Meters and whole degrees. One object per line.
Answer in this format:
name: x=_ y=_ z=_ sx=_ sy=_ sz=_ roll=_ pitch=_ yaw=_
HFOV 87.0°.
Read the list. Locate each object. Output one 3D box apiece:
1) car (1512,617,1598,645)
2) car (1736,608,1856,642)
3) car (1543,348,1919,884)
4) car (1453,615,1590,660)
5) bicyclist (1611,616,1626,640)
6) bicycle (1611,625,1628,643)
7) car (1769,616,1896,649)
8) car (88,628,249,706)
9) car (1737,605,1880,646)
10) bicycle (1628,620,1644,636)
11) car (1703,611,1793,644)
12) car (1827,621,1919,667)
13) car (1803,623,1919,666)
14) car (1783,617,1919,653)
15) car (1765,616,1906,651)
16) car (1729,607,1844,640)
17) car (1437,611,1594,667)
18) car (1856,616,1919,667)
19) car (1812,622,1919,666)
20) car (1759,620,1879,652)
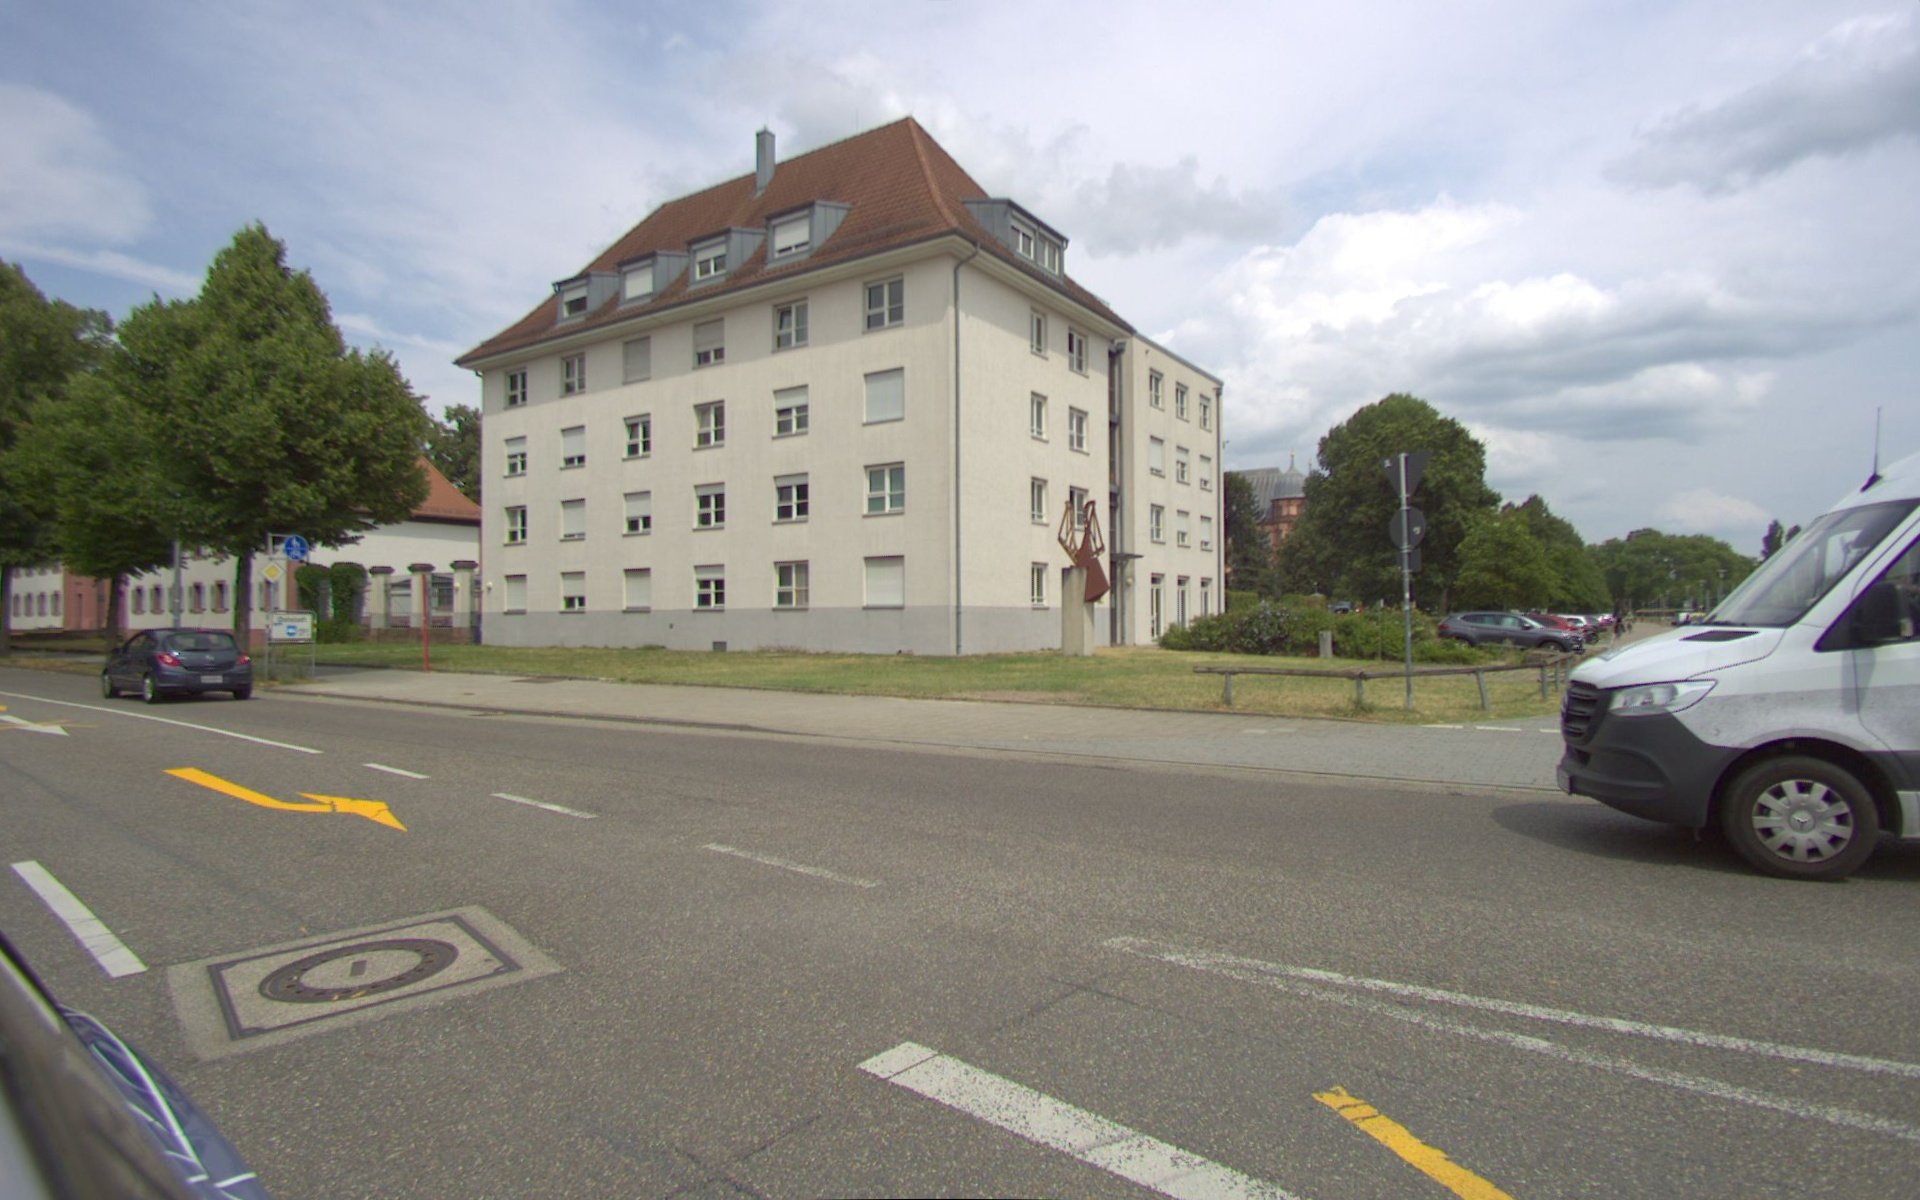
car: x=32.587 y=1.705 z=55.497 sx=3.995 sy=1.479 sz=1.797 roll=-1 pitch=-1 yaw=33
car: x=52.508 y=1.577 z=63.761 sx=5.555 sy=2.071 sz=2.176 roll=-1 pitch=-1 yaw=34
car: x=6.719 y=0.068 z=5.434 sx=5.931 sy=2.706 sz=2.055 roll=-1 pitch=-1 yaw=23
car: x=21.438 y=1.404 z=38.711 sx=4.397 sy=1.610 sz=1.976 roll=-1 pitch=-1 yaw=35
bicyclist: x=39.622 y=1.656 z=60.869 sx=0.602 sy=1.434 sz=0.792 roll=-2 pitch=-2 yaw=41
bicycle: x=39.726 y=2.066 z=60.965 sx=0.601 sy=1.054 sz=1.804 roll=-2 pitch=-2 yaw=40
car: x=41.058 y=1.513 z=47.756 sx=4.300 sy=1.482 sz=1.812 roll=-1 pitch=-1 yaw=34
car: x=-16.057 y=1.289 z=20.485 sx=3.914 sy=1.421 sz=1.656 roll=-1 pitch=-1 yaw=38
car: x=45.205 y=1.363 z=54.125 sx=5.552 sy=2.071 sz=2.177 roll=-1 pitch=-1 yaw=32
bicycle: x=51.121 y=2.098 z=76.525 sx=0.776 sy=1.185 sz=2.207 roll=-1 pitch=-2 yaw=29
car: x=48.133 y=1.678 z=61.939 sx=4.146 sy=1.969 sz=1.938 roll=-1 pitch=-1 yaw=34
car: x=31.877 y=1.441 z=33.273 sx=4.876 sy=1.482 sz=1.812 roll=-1 pitch=-1 yaw=34
car: x=34.234 y=1.618 z=37.264 sx=4.697 sy=1.482 sz=1.812 roll=-1 pitch=-1 yaw=34
car: x=38.269 y=1.486 z=43.425 sx=4.376 sy=1.482 sz=1.812 roll=-1 pitch=-1 yaw=34
car: x=39.461 y=1.509 z=45.792 sx=4.592 sy=1.482 sz=1.812 roll=-1 pitch=-1 yaw=34
car: x=53.670 y=1.553 z=65.871 sx=5.555 sy=2.071 sz=2.176 roll=-1 pitch=-1 yaw=34
car: x=18.644 y=1.271 z=34.040 sx=4.487 sy=1.778 sz=1.978 roll=-1 pitch=-1 yaw=33
car: x=30.643 y=1.208 z=30.810 sx=4.689 sy=1.482 sz=1.814 roll=-4 pitch=-3 yaw=31
car: x=33.062 y=1.535 z=35.337 sx=4.876 sy=1.482 sz=1.812 roll=-1 pitch=-1 yaw=34
car: x=42.338 y=1.753 z=50.023 sx=4.300 sy=1.482 sz=1.812 roll=-1 pitch=-1 yaw=34
